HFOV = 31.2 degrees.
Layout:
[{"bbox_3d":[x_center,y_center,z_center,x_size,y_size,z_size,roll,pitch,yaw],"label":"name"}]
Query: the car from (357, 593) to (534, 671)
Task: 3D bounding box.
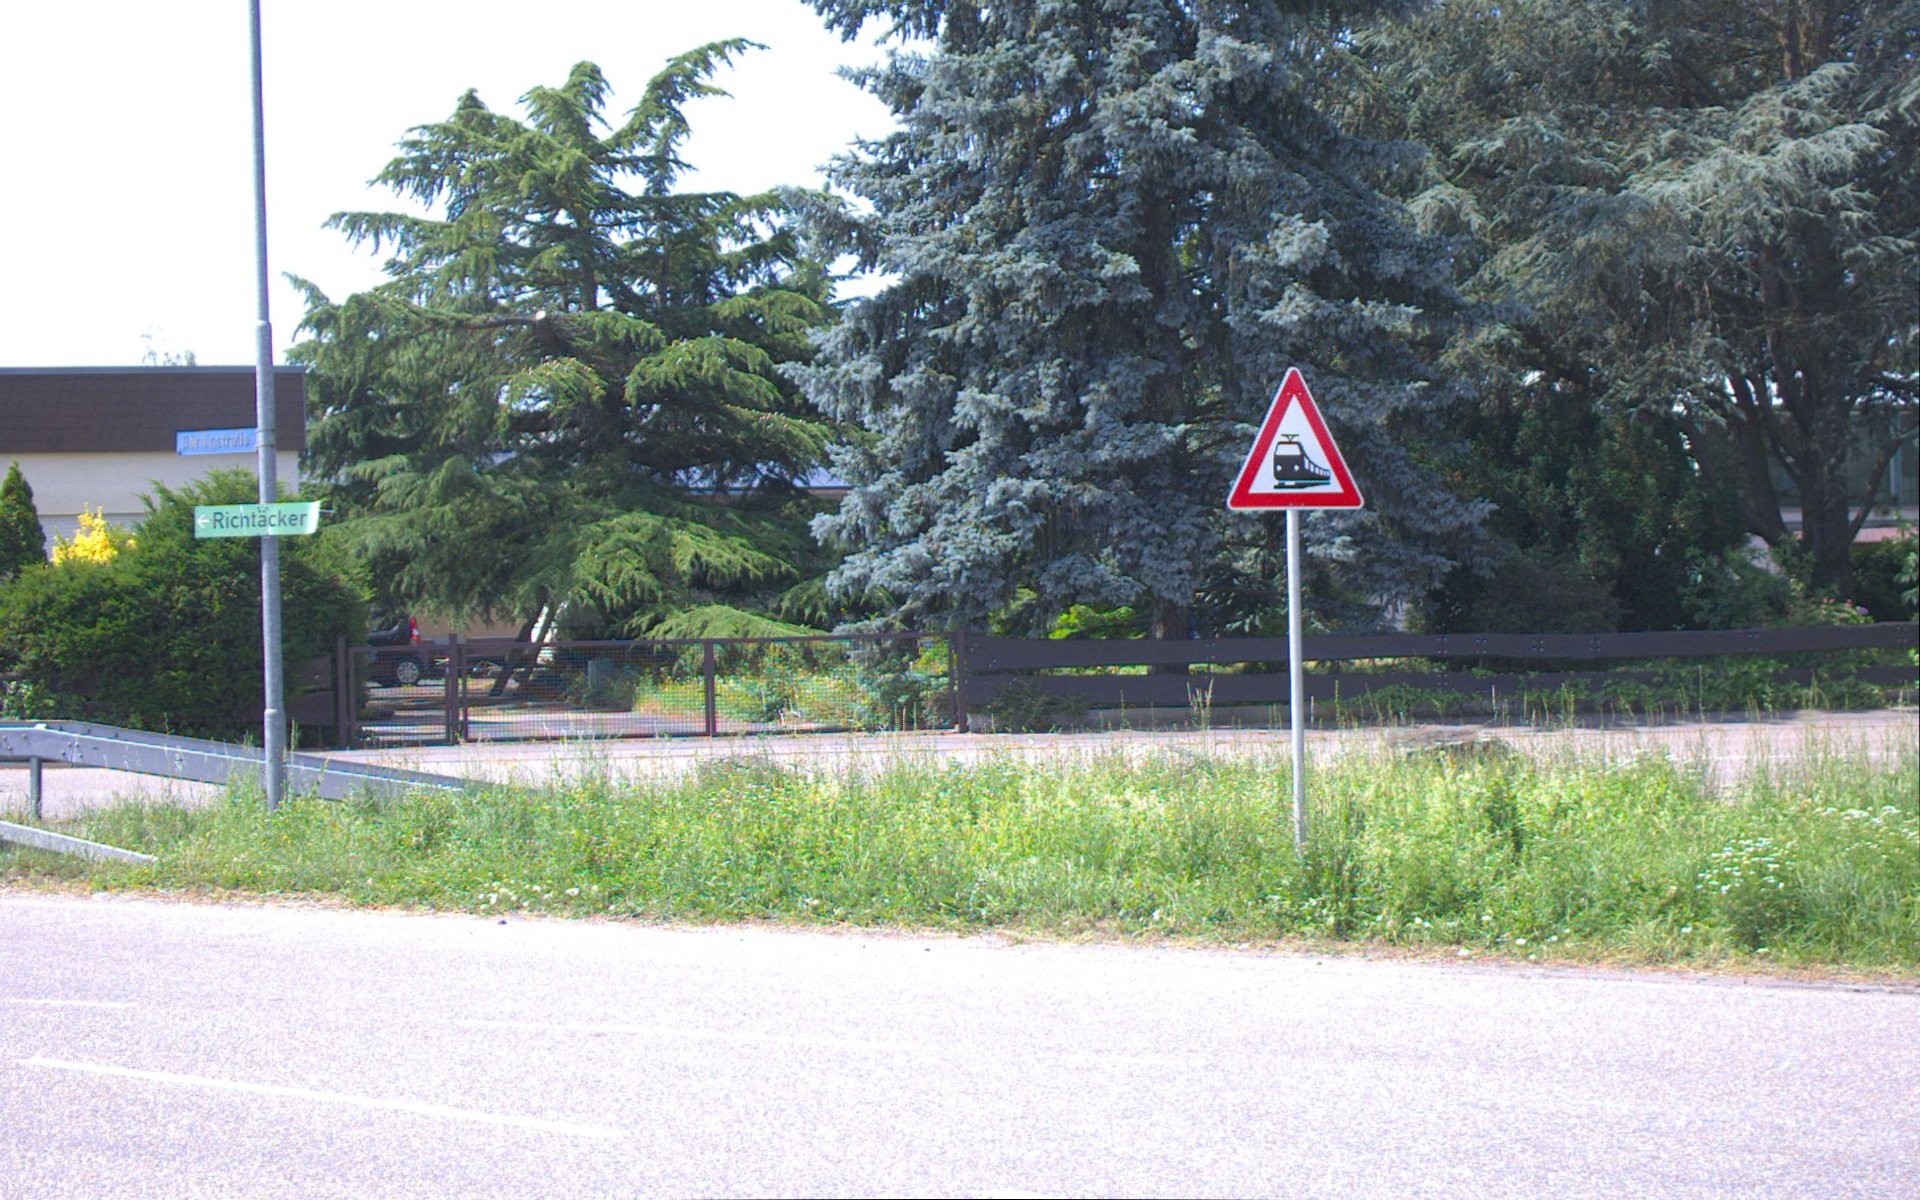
[{"bbox_3d":[-11.130,0.682,74.361,3.523,1.580,1.566,-1,1,-21],"label":"car"}]
